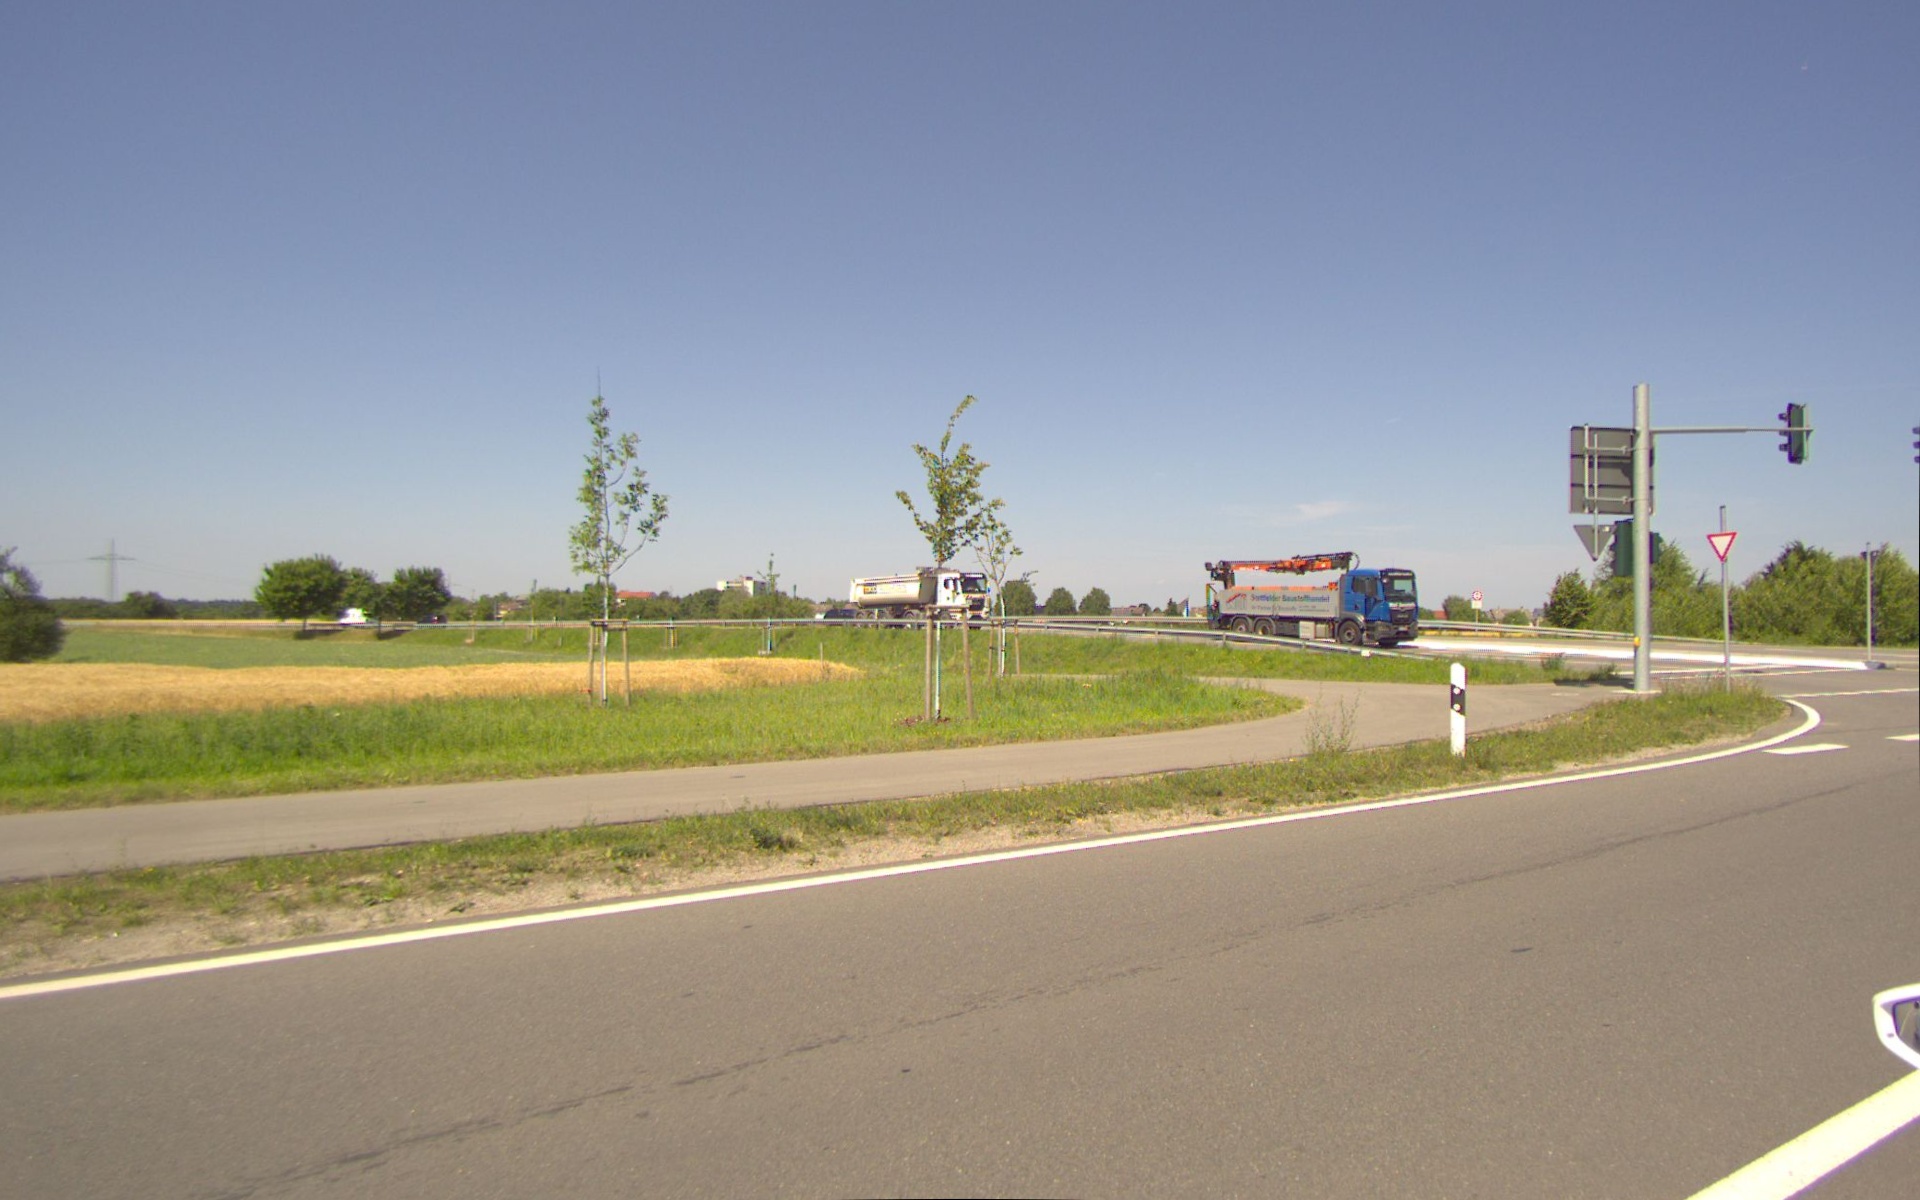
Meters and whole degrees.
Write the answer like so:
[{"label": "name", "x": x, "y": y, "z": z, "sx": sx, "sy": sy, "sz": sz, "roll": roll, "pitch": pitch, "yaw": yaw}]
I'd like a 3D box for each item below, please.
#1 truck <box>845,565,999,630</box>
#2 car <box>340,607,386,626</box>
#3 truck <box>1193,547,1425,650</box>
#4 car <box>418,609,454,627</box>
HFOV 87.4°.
[{"label": "truck", "x": -2.626, "y": -0.152, "z": 62.220, "sx": 2.958, "sy": 3.663, "sz": 11.889, "roll": 1, "pitch": 0, "yaw": -40}, {"label": "car", "x": -79.006, "y": 2.174, "z": 132.871, "sx": 5.823, "sy": 2.454, "sz": 2.246, "roll": 1, "pitch": 0, "yaw": 24}, {"label": "truck", "x": 14.269, "y": -0.072, "z": 42.298, "sx": 2.595, "sy": 3.844, "sz": 10.033, "roll": 1, "pitch": 0, "yaw": -30}, {"label": "car", "x": -65.718, "y": 2.219, "z": 125.944, "sx": 3.925, "sy": 2.040, "sz": 1.998, "roll": 3, "pitch": 0, "yaw": 26}]
